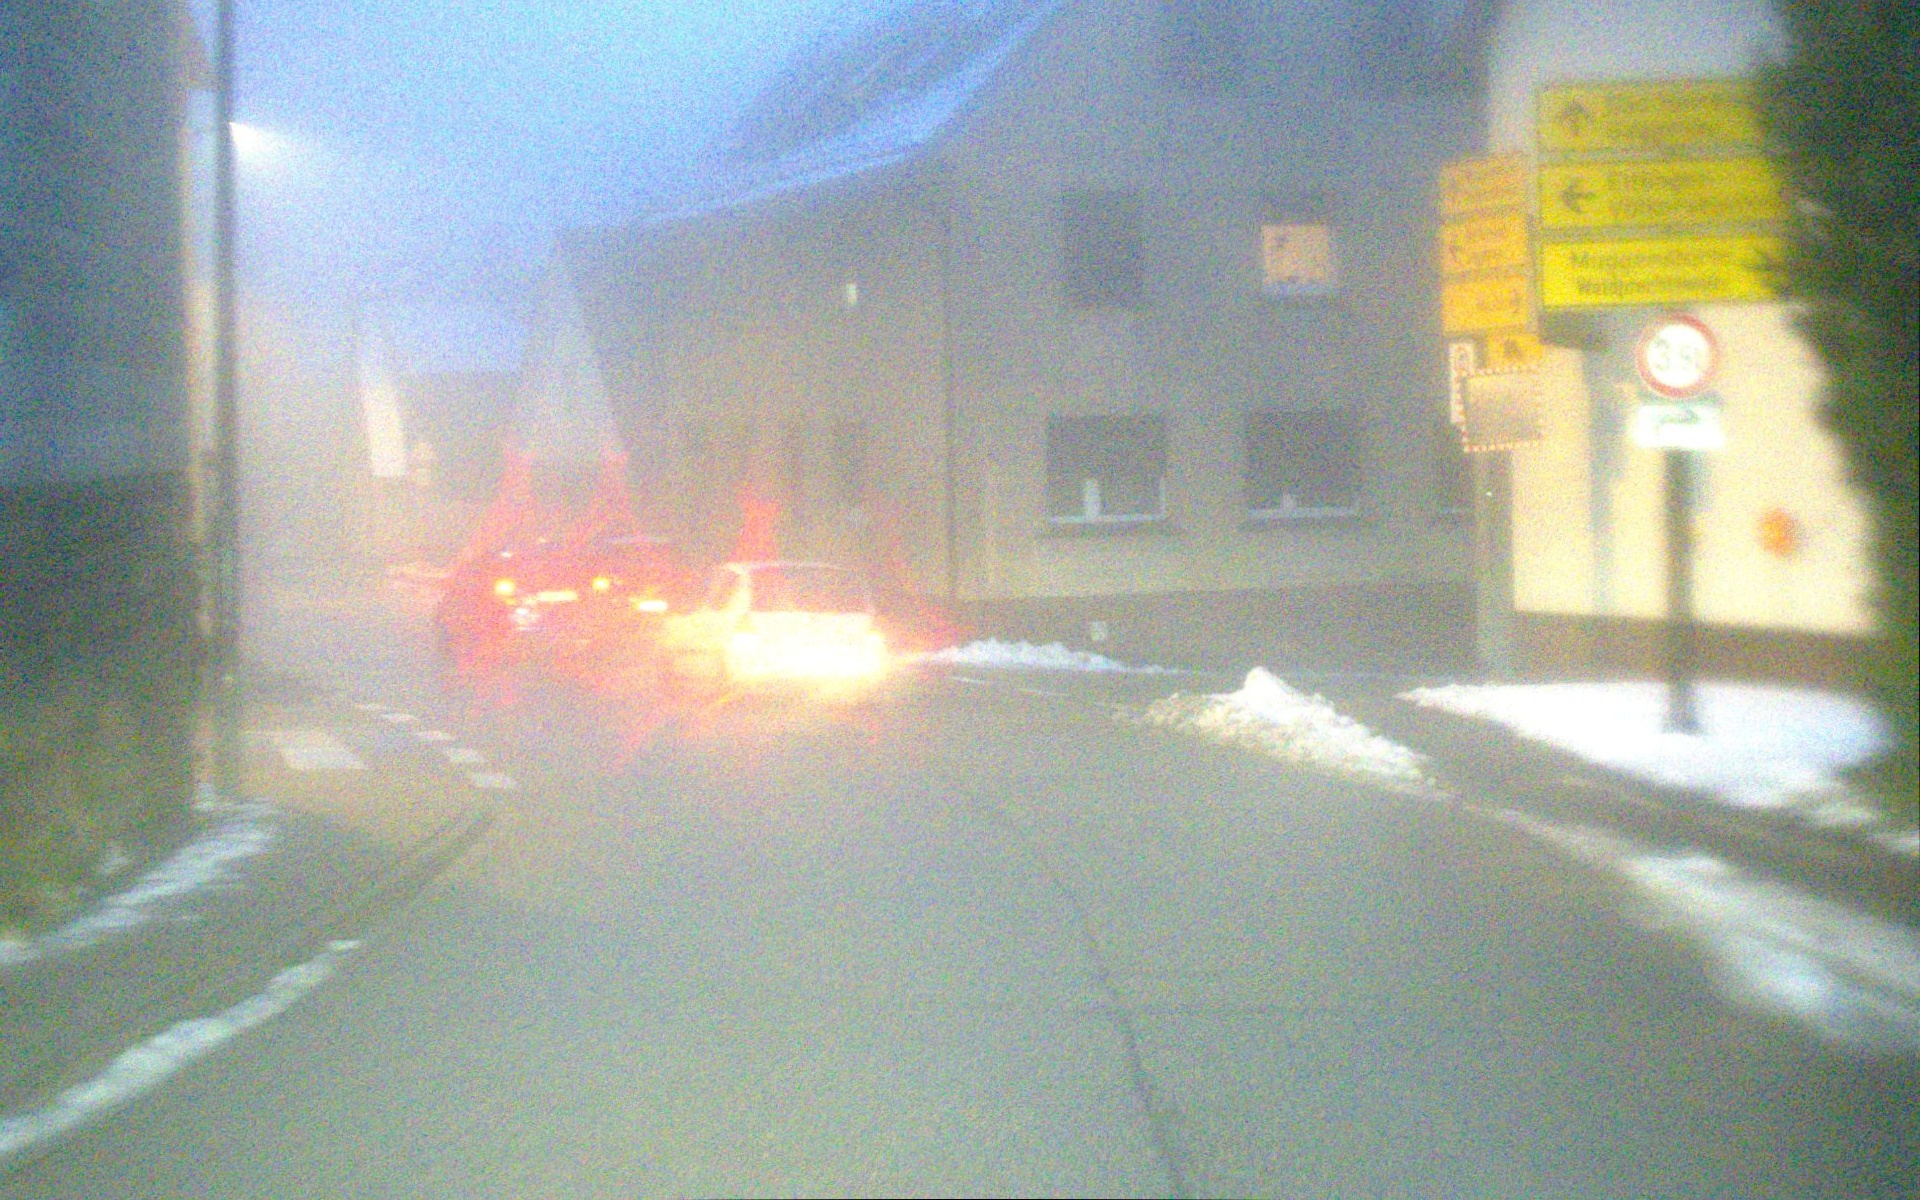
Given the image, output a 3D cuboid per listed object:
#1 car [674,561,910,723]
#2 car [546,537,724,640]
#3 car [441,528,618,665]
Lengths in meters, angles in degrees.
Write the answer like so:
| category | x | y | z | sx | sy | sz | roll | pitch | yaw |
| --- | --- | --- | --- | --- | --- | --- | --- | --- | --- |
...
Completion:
| category | x | y | z | sx | sy | sz | roll | pitch | yaw |
| --- | --- | --- | --- | --- | --- | --- | --- | --- | --- |
| car | -1.752 | 0.410 | 34.526 | 1.993 | 1.503 | 4.001 | 1 | 0 | -8 |
| car | -5.040 | -0.210 | 52.810 | 1.910 | 1.476 | 4.283 | -1 | 1 | -16 |
| car | -5.835 | -0.033 | 46.279 | 1.993 | 1.722 | 4.001 | 1 | 0 | -12 |
